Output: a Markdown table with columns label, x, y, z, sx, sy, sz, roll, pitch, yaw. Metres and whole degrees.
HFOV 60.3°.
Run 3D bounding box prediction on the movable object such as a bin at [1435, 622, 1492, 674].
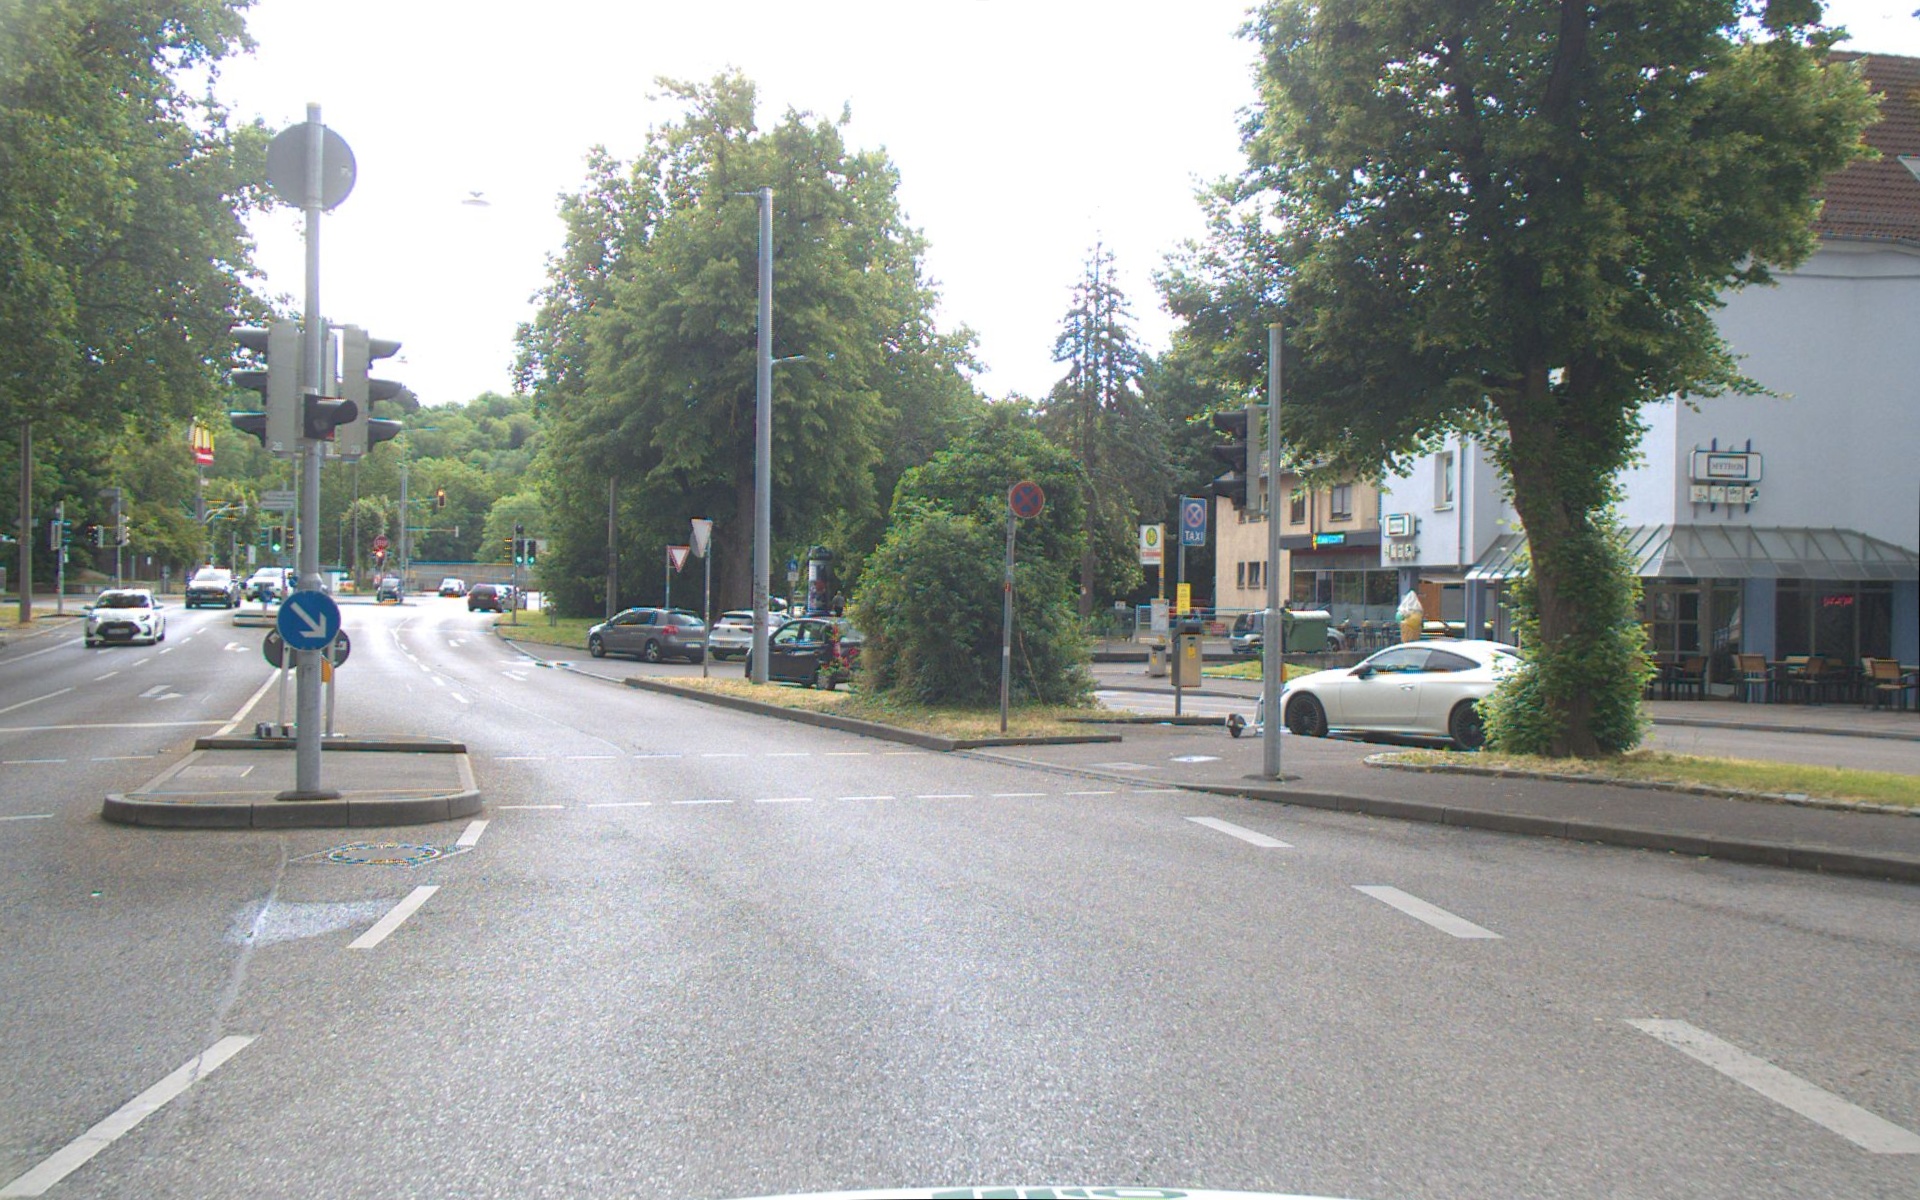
| label | x | y | z | sx | sy | sz | roll | pitch | yaw |
| --- | --- | --- | --- | --- | --- | --- | --- | --- | --- |
| movable object such as a bin | 14.072 | 1.336 | 46.282 | 1.190 | 1.420 | 1.160 | 0 | -1 | -6 |

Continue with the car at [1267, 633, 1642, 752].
| label | x | y | z | sx | sy | sz | roll | pitch | yaw |
| --- | --- | --- | --- | --- | --- | --- | --- | --- | --- |
| car | 6.700 | 1.186 | 22.865 | 1.980 | 1.411 | 4.720 | 0 | -1 | -39 |

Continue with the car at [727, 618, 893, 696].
| label | x | y | z | sx | sy | sz | roll | pitch | yaw |
| --- | --- | --- | --- | --- | --- | --- | --- | --- | --- |
| car | -3.115 | 1.136 | 34.047 | 3.436 | 1.429 | 1.562 | 1 | 1 | 45 |

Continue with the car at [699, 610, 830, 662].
| label | x | y | z | sx | sy | sz | roll | pitch | yaw |
| --- | --- | --- | --- | --- | --- | --- | --- | --- | --- |
| car | -5.698 | 1.033 | 48.778 | 1.725 | 1.405 | 4.255 | 1 | 0 | 28 |

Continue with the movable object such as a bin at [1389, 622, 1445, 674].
| label | x | y | z | sx | sy | sz | roll | pitch | yaw |
| --- | --- | --- | --- | --- | --- | --- | --- | --- | --- |
| movable object such as a bin | 12.745 | 1.335 | 46.166 | 1.190 | 1.441 | 1.093 | 0 | -1 | -6 |

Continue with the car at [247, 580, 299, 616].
| label | x | y | z | sx | sy | sz | roll | pitch | yaw |
| --- | --- | --- | --- | --- | --- | --- | --- | --- | --- |
| car | -36.484 | -0.115 | 87.933 | 1.879 | 1.794 | 4.734 | 0 | 1 | -15 |

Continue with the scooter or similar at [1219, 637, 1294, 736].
| label | x | y | z | sx | sy | sz | roll | pitch | yaw |
| --- | --- | --- | --- | --- | --- | --- | --- | --- | --- |
| scooter or similar | 3.717 | 1.083 | 20.688 | 0.404 | 1.187 | 1.358 | 1 | -2 | 32 |

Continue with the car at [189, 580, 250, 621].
| label | x | y | z | sx | sy | sz | roll | pitch | yaw |
| --- | --- | --- | --- | --- | --- | --- | --- | --- | --- |
| car | -32.438 | 0.000 | 72.559 | 1.767 | 1.614 | 4.397 | -2 | 2 | -16 |

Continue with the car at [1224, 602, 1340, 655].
| label | x | y | z | sx | sy | sz | roll | pitch | yaw |
| --- | --- | --- | --- | --- | --- | --- | --- | --- | --- |
| car | 10.328 | 0.907 | 53.172 | 3.350 | 1.659 | 1.621 | 0 | -1 | -9 |

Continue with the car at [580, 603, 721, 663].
| label | x | y | z | sx | sy | sz | roll | pitch | yaw |
| --- | --- | --- | --- | --- | --- | --- | --- | --- | --- |
| car | -8.738 | 0.897 | 46.565 | 4.037 | 1.454 | 1.724 | 3 | 1 | 40 |

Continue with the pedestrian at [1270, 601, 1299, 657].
| label | x | y | z | sx | sy | sz | roll | pitch | yaw |
| --- | --- | --- | --- | --- | --- | --- | --- | --- | --- |
| pedestrian | 10.225 | 0.919 | 52.114 | 0.675 | 1.760 | 0.609 | 0 | -1 | -15 |

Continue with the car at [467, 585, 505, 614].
| label | x | y | z | sx | sy | sz | roll | pitch | yaw |
| --- | --- | --- | --- | --- | --- | --- | --- | --- | --- |
| car | -25.739 | -0.042 | 89.915 | 1.792 | 1.536 | 4.557 | 1 | 0 | -15 |

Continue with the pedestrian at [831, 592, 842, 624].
| label | x | y | z | sx | sy | sz | roll | pitch | yaw |
| --- | --- | --- | --- | --- | --- | --- | --- | --- | --- |
| pedestrian | -6.059 | 0.405 | 81.244 | 0.501 | 1.558 | 0.777 | 1 | 0 | -6 |

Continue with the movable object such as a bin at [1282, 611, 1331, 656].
| label | x | y | z | sx | sy | sz | roll | pitch | yaw |
| --- | --- | --- | --- | --- | --- | --- | --- | --- | --- |
| movable object such as a bin | 10.707 | 1.039 | 51.137 | 1.196 | 1.368 | 0.991 | 0 | -1 | -15 |

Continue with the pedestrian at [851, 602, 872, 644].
| label | x | y | z | sx | sy | sz | roll | pitch | yaw |
| --- | --- | --- | --- | --- | --- | --- | --- | --- | --- |
| pedestrian | -3.790 | 0.871 | 63.531 | 0.672 | 1.578 | 0.740 | 1 | 0 | -16 |

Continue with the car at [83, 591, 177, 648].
| label | x | y | z | sx | sy | sz | roll | pitch | yaw |
| --- | --- | --- | --- | --- | --- | --- | --- | --- | --- |
| car | -23.198 | 0.539 | 46.344 | 1.735 | 1.492 | 4.001 | -1 | 0 | -18 |
